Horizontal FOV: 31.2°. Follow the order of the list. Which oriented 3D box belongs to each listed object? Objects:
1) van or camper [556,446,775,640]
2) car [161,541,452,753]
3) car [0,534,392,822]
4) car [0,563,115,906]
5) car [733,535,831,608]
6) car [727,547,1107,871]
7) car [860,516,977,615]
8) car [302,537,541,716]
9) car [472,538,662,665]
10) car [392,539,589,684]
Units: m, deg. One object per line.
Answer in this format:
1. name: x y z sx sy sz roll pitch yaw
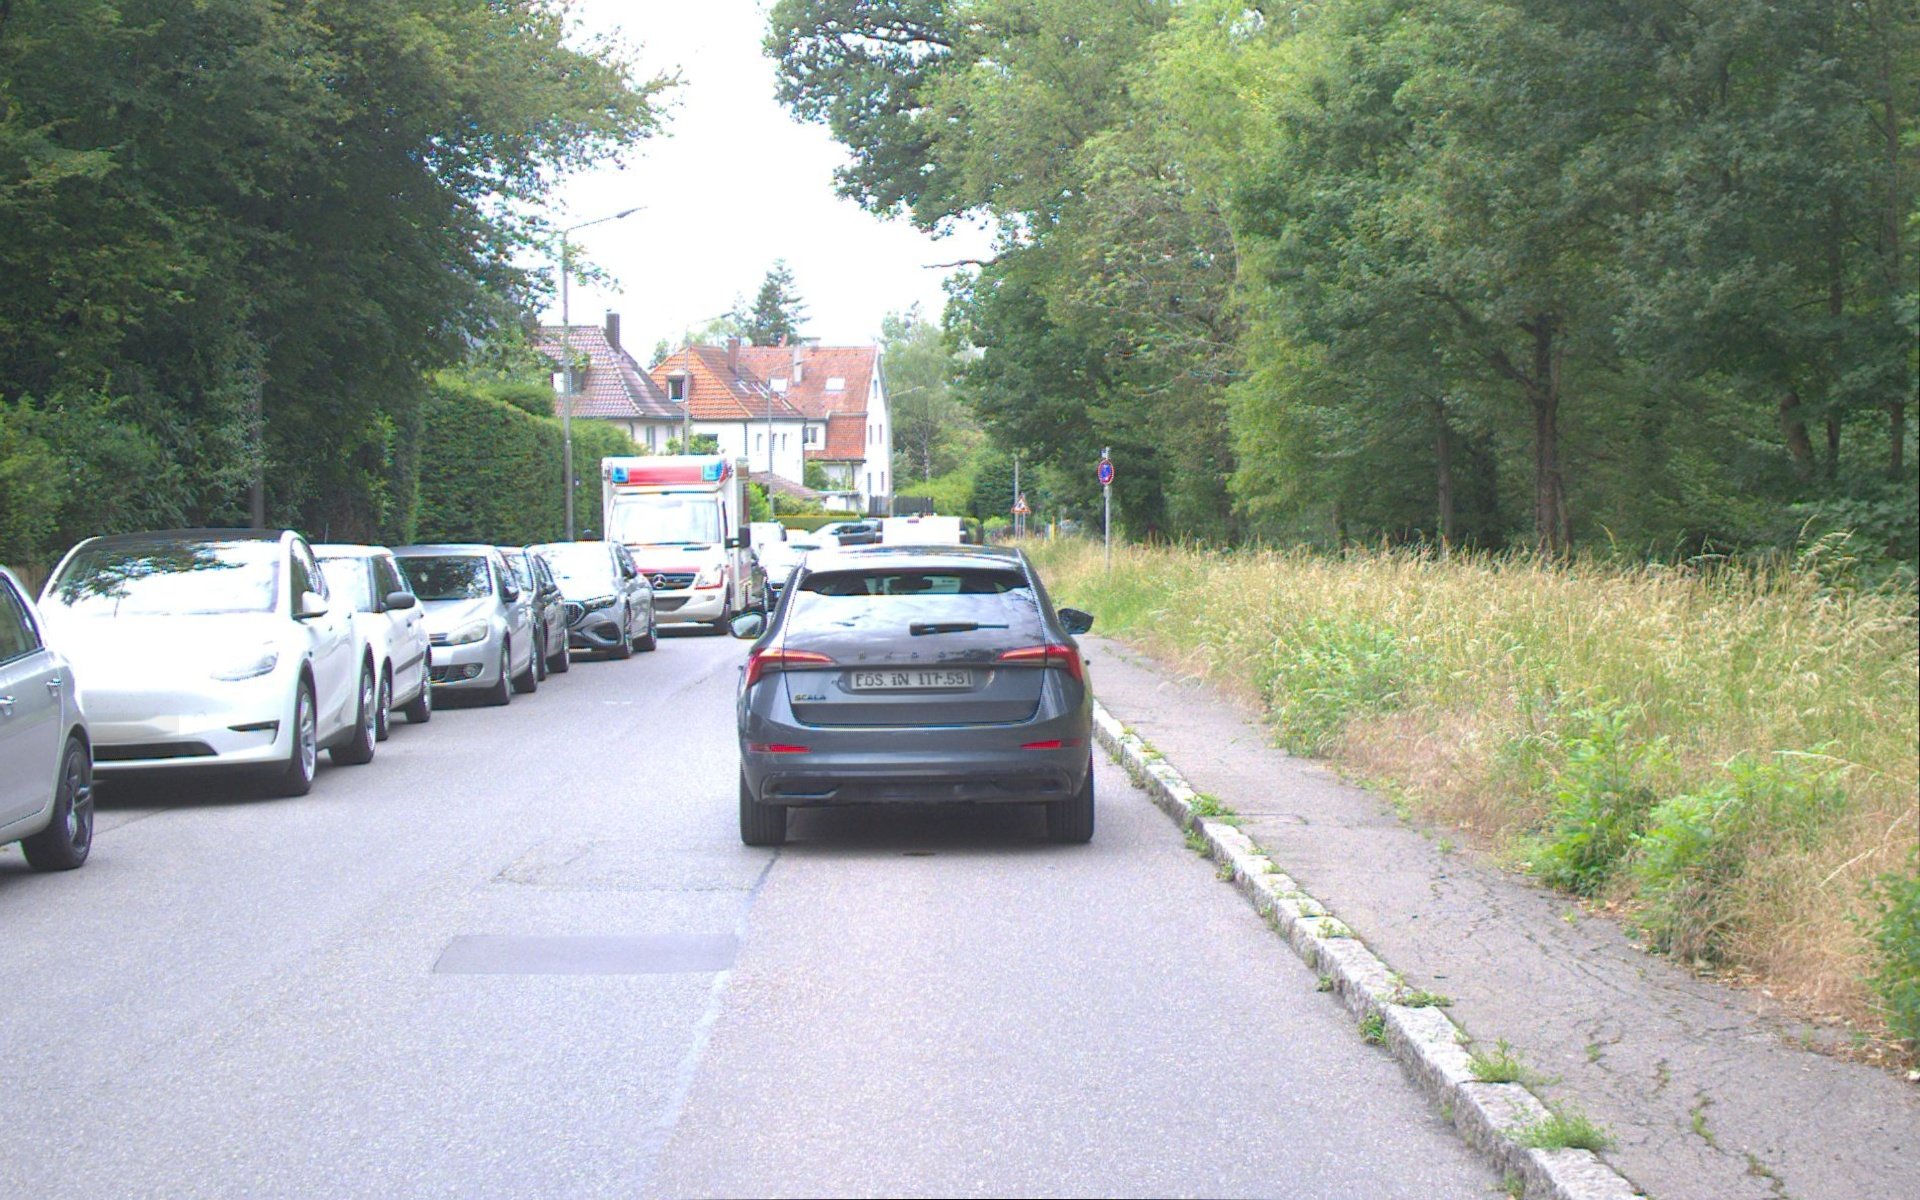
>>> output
1. van or camper: -4.617 -0.924 55.253 2.456 2.885 7.167 -1 1 3
2. car: -5.135 0.315 27.453 1.720 1.499 3.817 -2 1 -3
3. car: -4.833 0.398 21.726 1.916 1.556 4.605 -2 1 -3
4. car: -4.980 0.597 14.492 1.834 1.434 4.117 -1 1 -1
5. car: -3.711 -0.624 72.208 1.763 1.441 4.474 -1 1 0
6. car: -0.329 0.469 17.946 1.727 1.434 4.324 1 1 -4
7. car: -0.875 -0.731 69.669 2.071 1.915 4.923 1 1 -4
8. car: -4.956 0.205 32.069 1.720 1.499 4.008 -2 1 -3
9. car: -5.071 -0.019 44.955 1.798 1.499 4.863 -2 1 1
10. car: -5.275 0.093 39.045 1.720 1.499 4.061 -2 1 -1
